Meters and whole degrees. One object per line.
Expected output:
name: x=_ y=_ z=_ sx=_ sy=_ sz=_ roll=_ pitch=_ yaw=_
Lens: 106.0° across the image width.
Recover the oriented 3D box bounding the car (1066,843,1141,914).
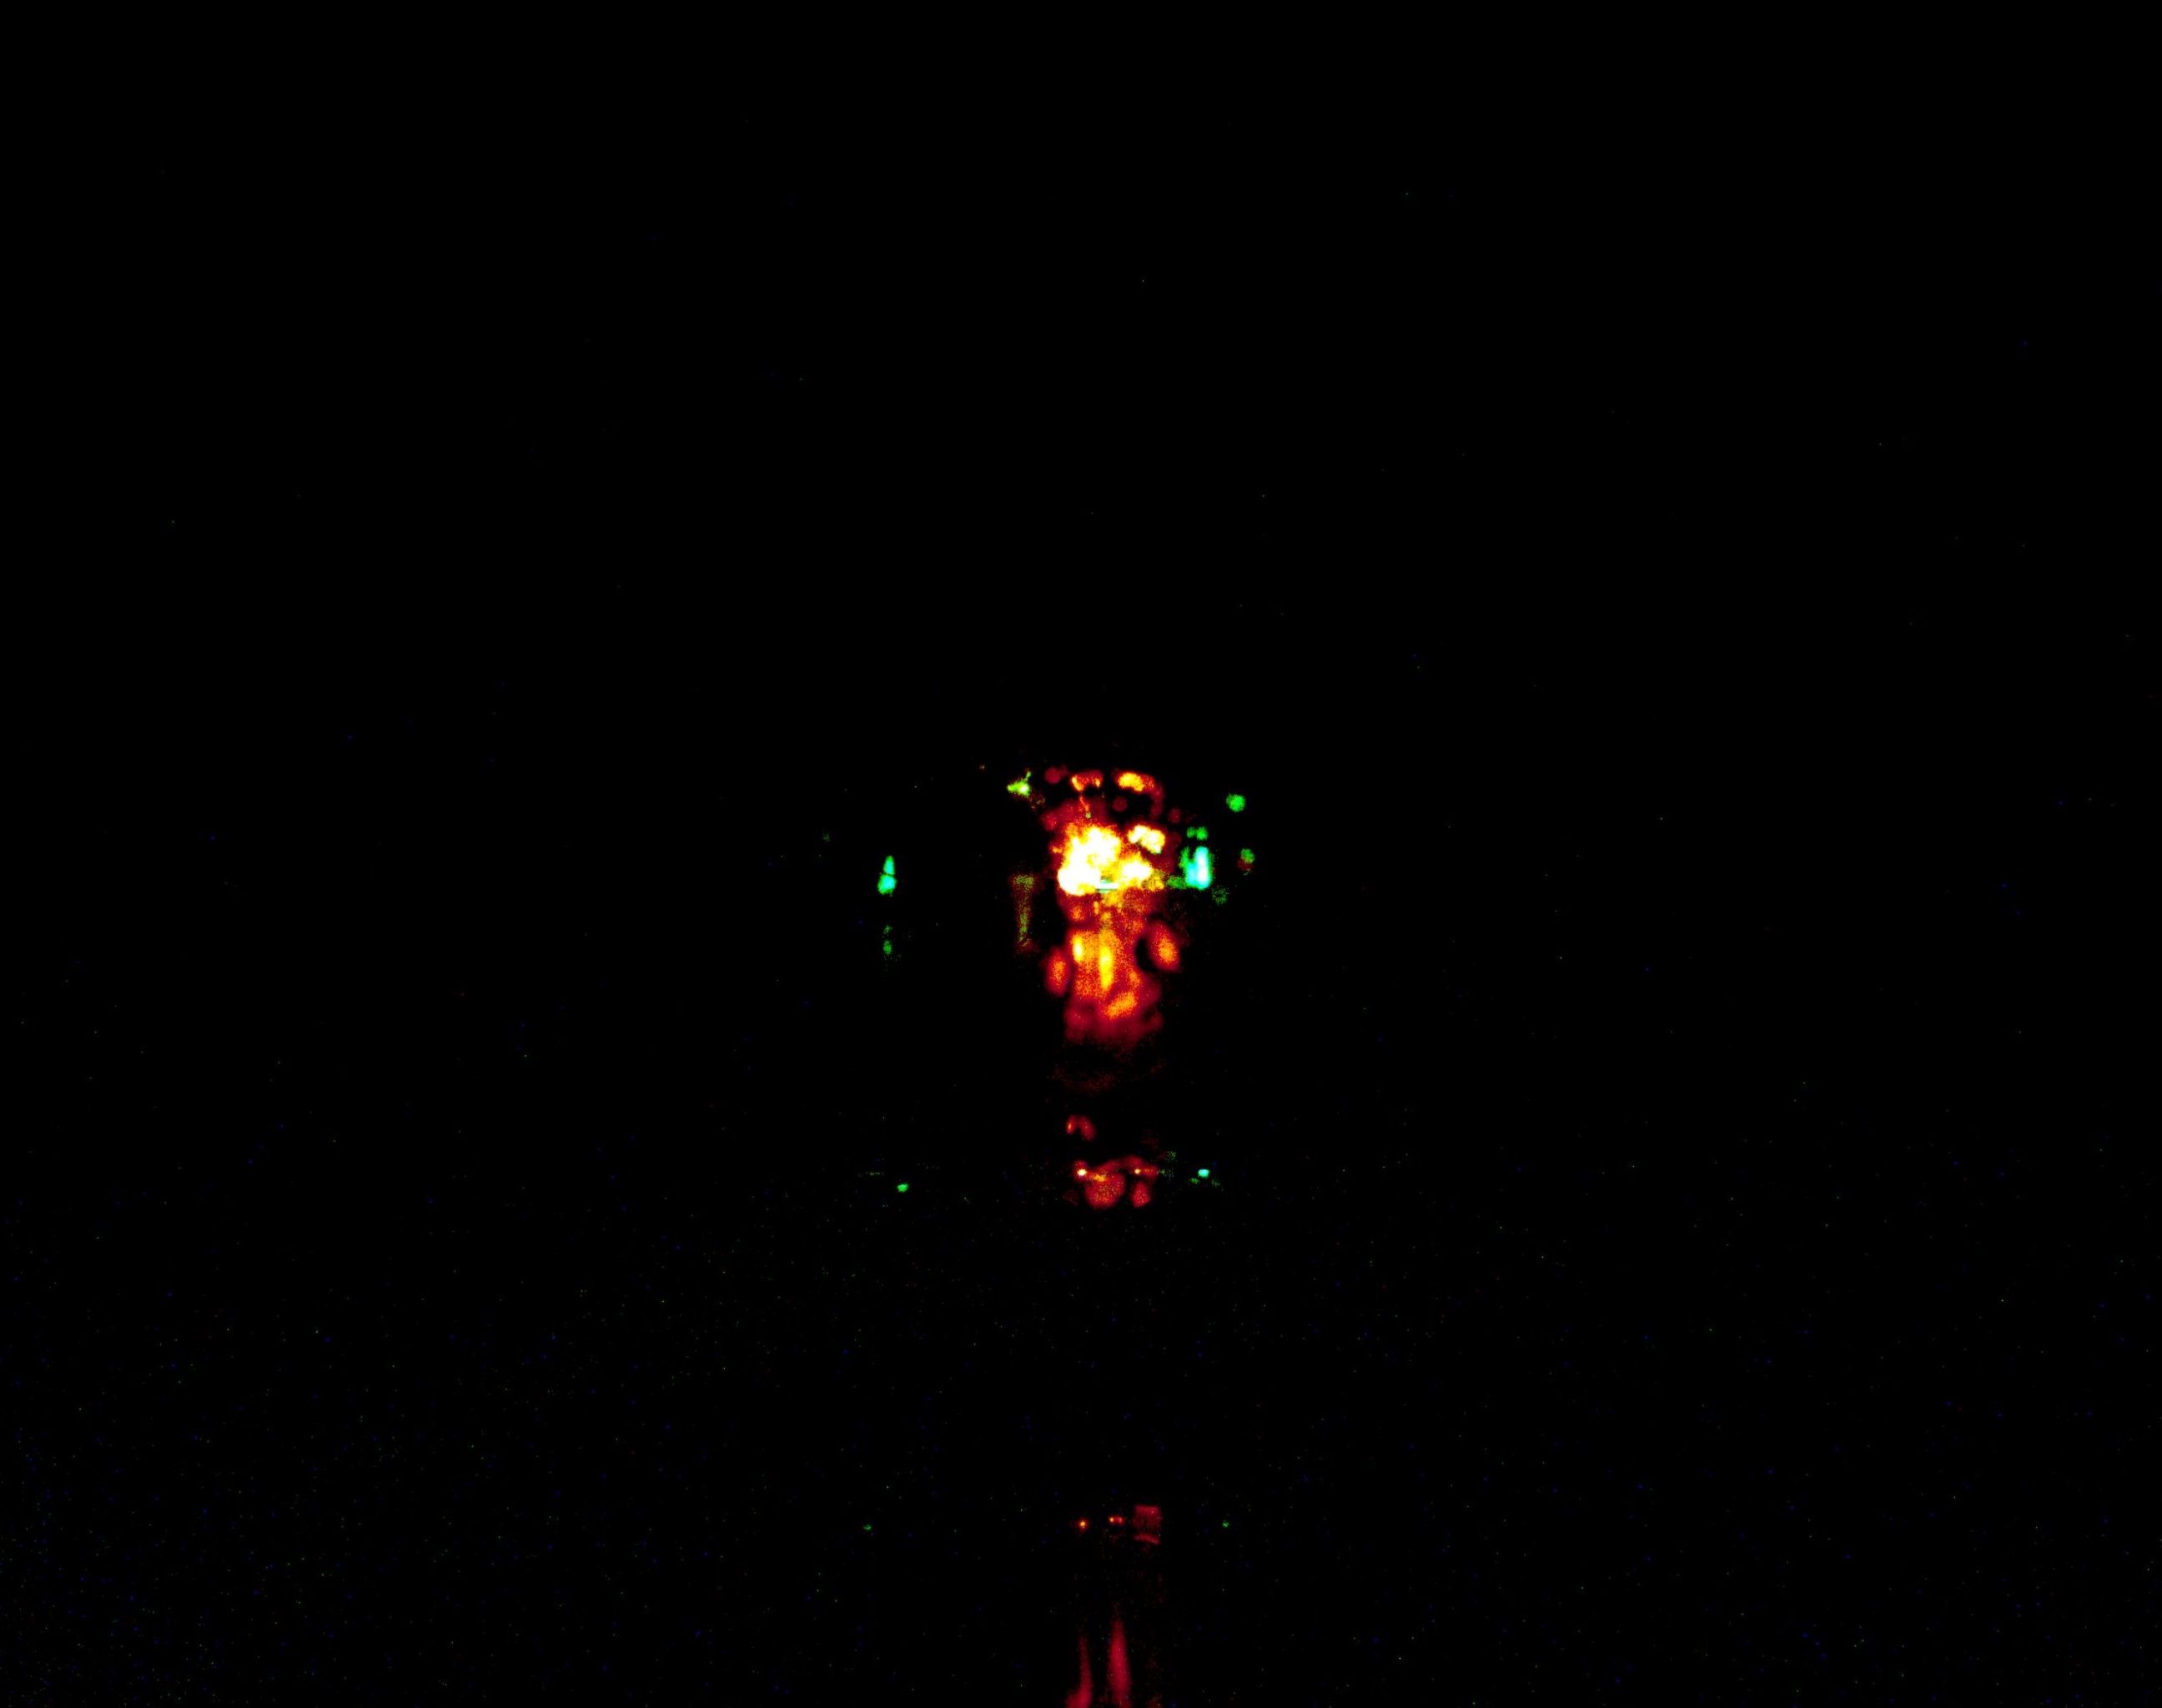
car: x=0.657 y=0.574 z=21.711 sx=1.783 sy=1.681 sz=3.908 roll=-1 pitch=0 yaw=3
